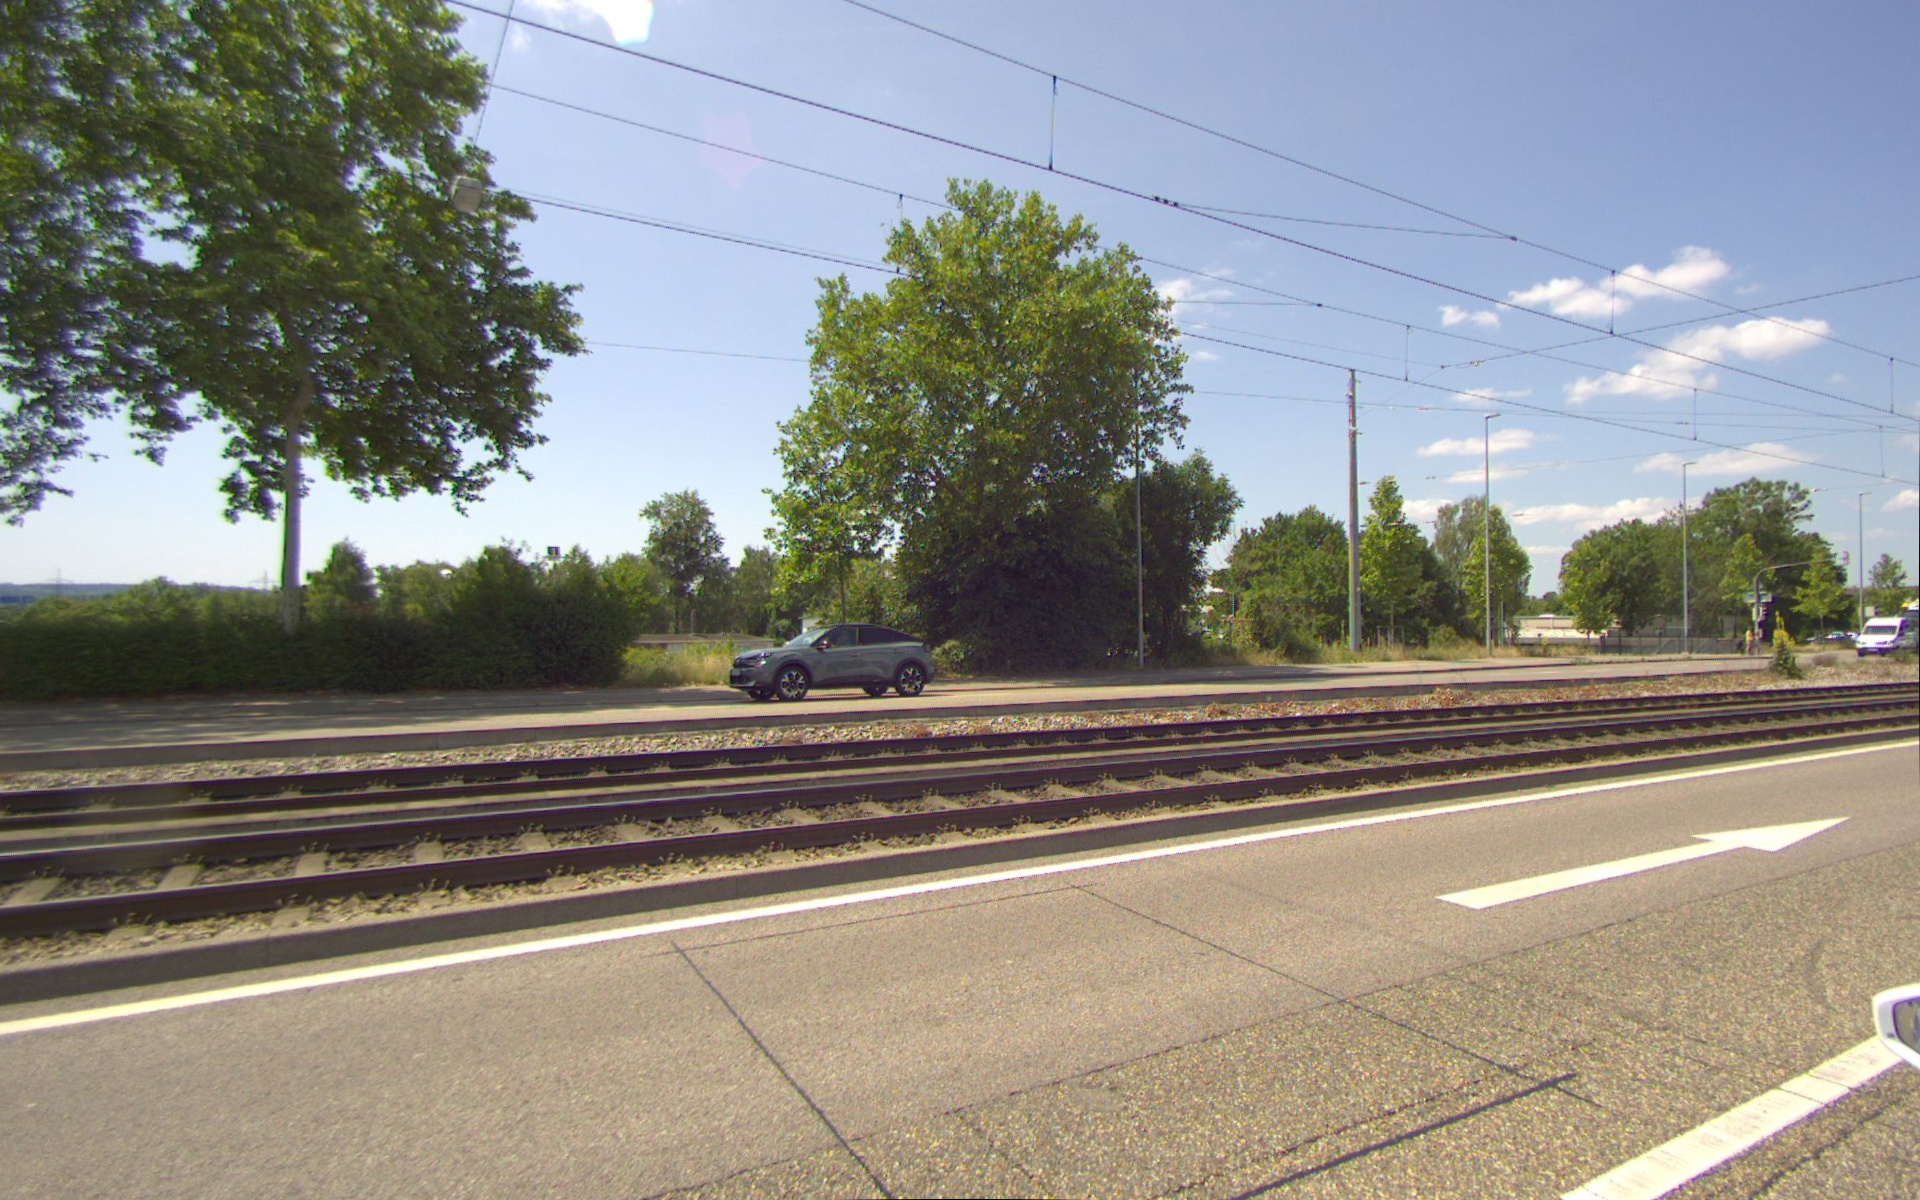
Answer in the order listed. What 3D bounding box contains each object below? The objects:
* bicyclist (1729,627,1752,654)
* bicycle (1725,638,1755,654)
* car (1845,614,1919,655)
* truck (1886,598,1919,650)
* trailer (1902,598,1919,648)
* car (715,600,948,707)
[{"bbox_3d":[52.304,2.691,67.308,0.337,1.798,1.112,1,0,-34],"label":"bicyclist"},{"bbox_3d":[52.288,3.054,67.343,0.480,1.000,1.482,1,0,-33],"label":"bicycle"},{"bbox_3d":[61.973,2.276,67.285,6.163,2.623,2.232,0,-3,-31],"label":"car"},{"bbox_3d":[69.249,1.705,71.808,6.364,3.616,2.754,1,0,-30],"label":"truck"},{"bbox_3d":[75.882,1.802,75.743,15.692,3.565,2.753,1,0,-31],"label":"trailer"},{"bbox_3d":[-2.624,1.017,20.778,4.364,1.944,1.981,1,1,-34],"label":"car"}]
